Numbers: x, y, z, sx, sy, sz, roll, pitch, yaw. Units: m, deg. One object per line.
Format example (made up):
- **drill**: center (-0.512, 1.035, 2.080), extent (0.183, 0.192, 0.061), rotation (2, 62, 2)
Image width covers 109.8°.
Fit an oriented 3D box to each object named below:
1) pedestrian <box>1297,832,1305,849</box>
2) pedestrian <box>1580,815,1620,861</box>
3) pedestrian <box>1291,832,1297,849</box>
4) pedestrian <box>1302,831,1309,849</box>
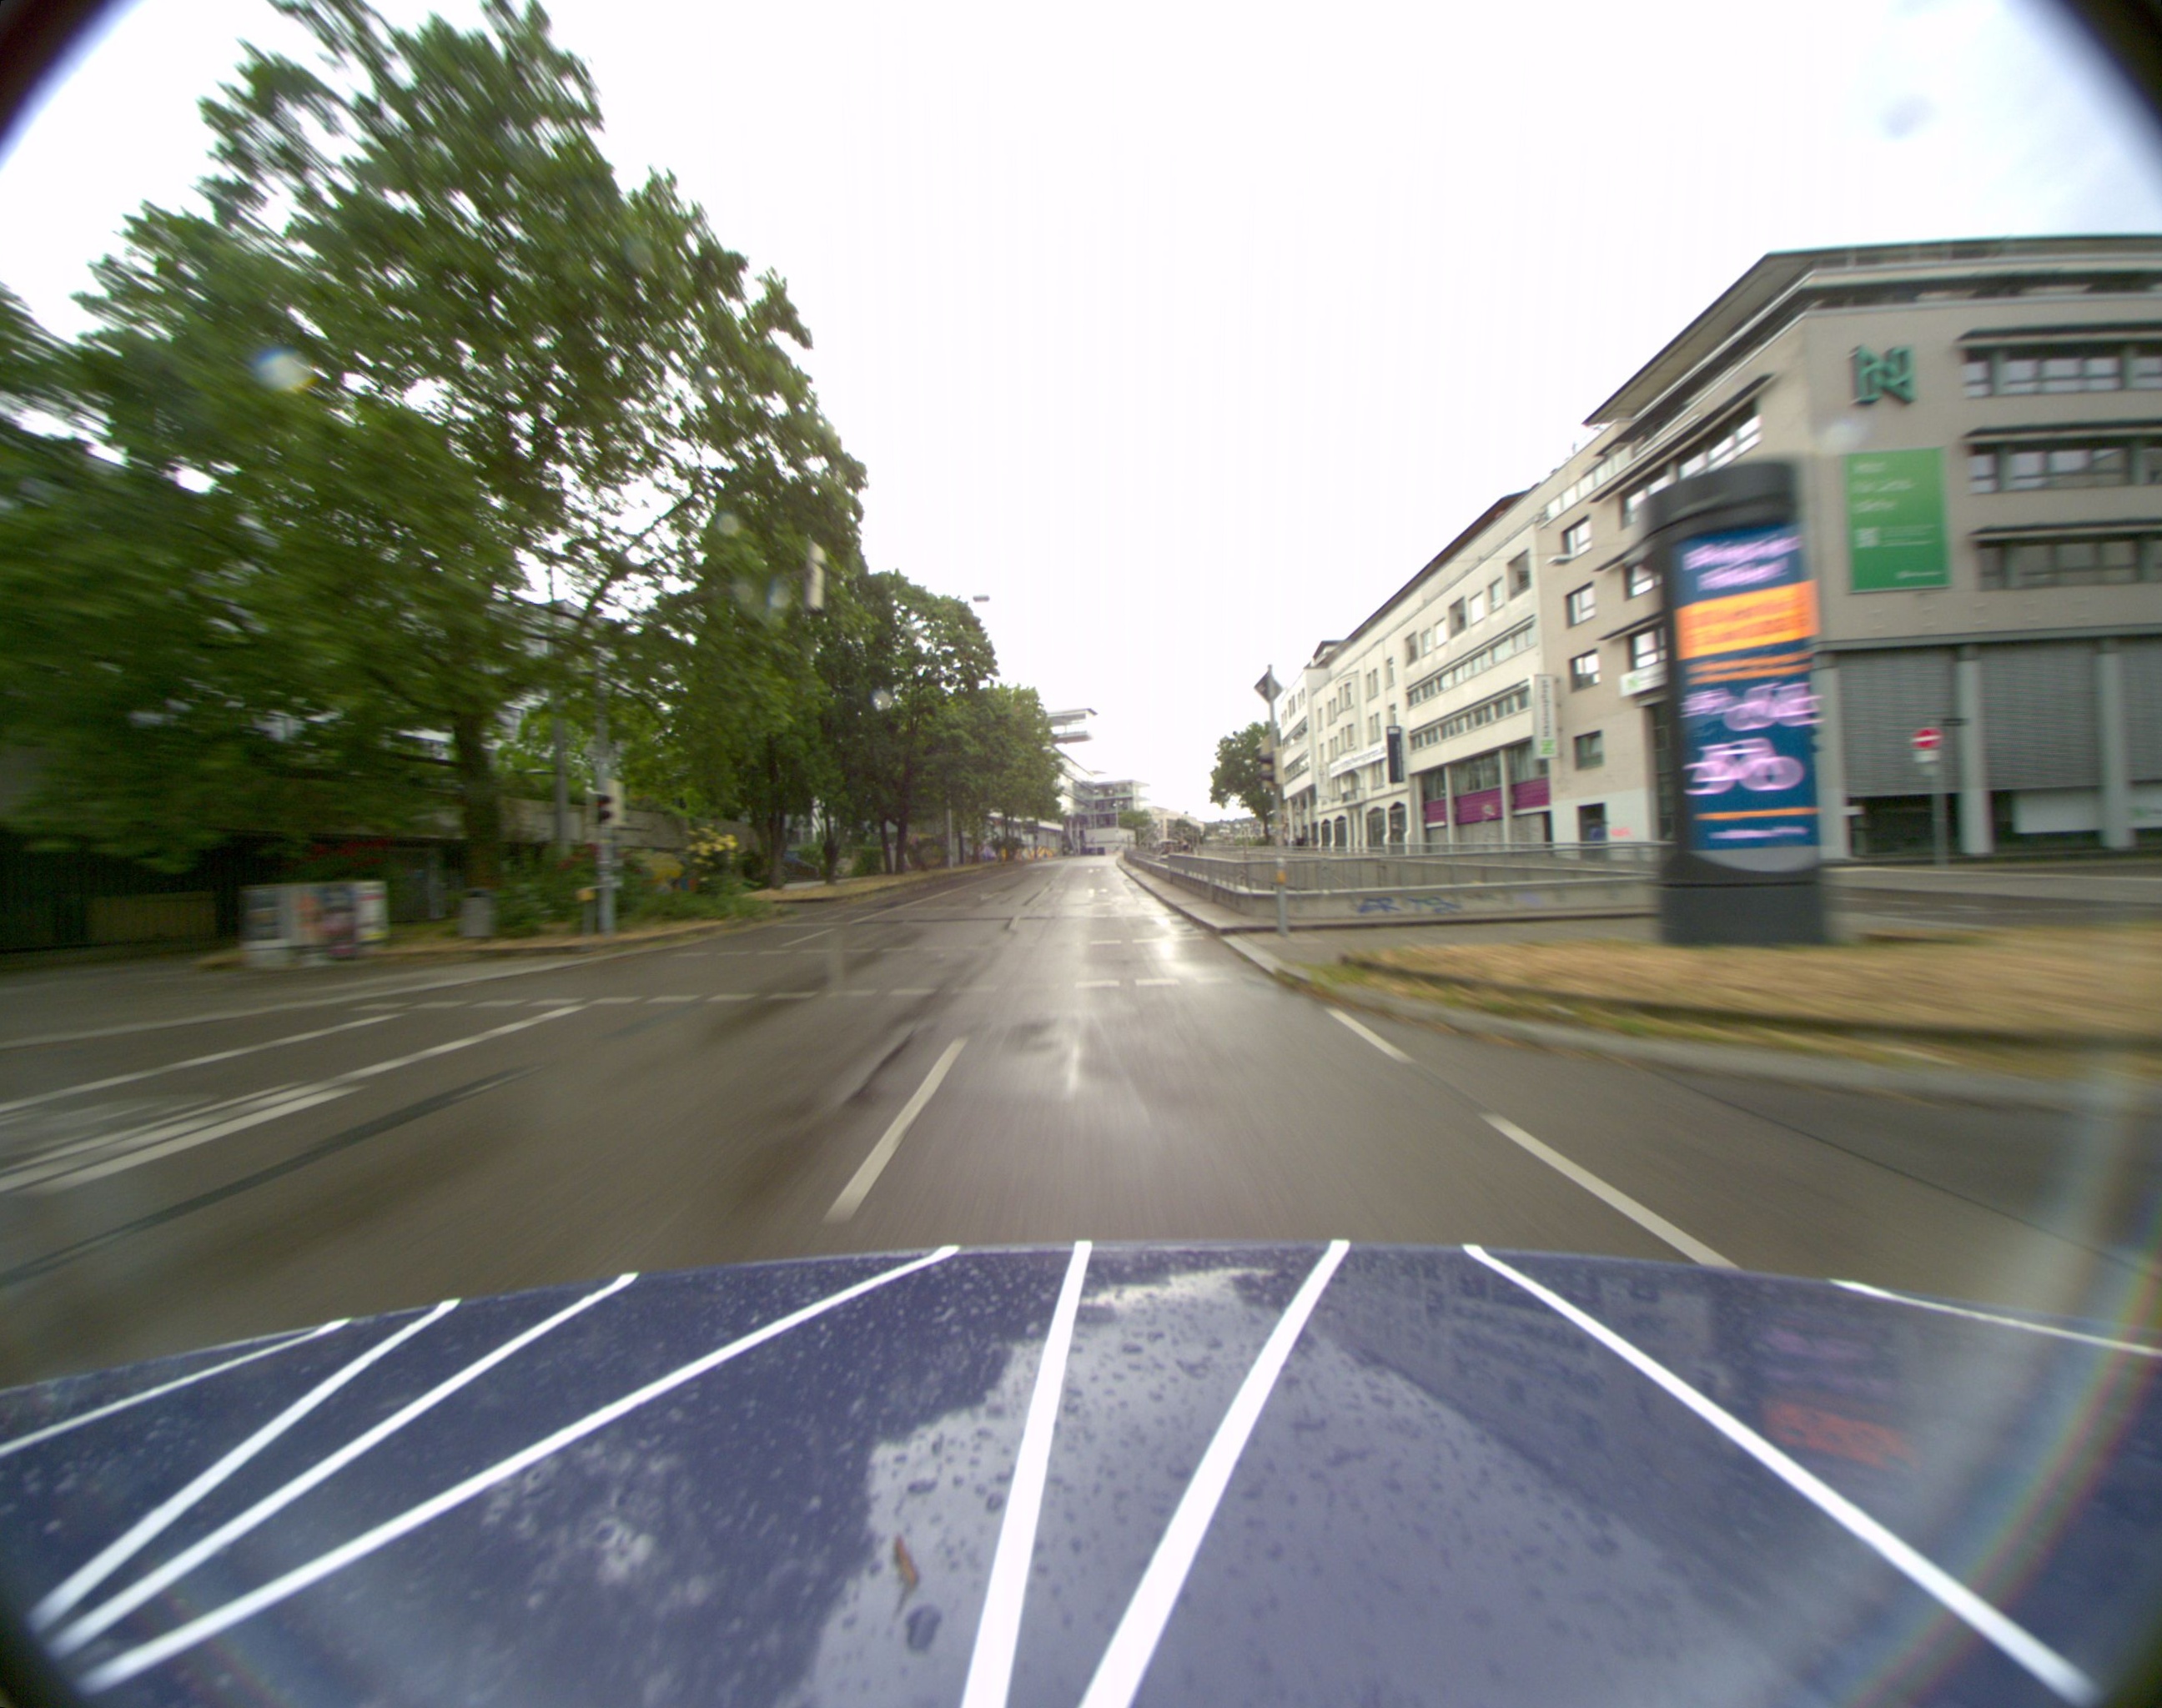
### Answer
- **pedestrian**: center (22.790, -1.408, 78.800), extent (0.547, 1.792, 0.470), rotation (-3, 1, -7)
- **pedestrian**: center (21.517, -0.658, 31.515), extent (0.859, 1.827, 1.059), rotation (-3, 1, 1)
- **pedestrian**: center (22.061, -1.389, 78.573), extent (0.469, 1.792, 0.547), rotation (-3, 1, 8)
- **pedestrian**: center (22.881, -1.469, 77.537), extent (0.470, 1.792, 0.547), rotation (-3, 1, 3)
